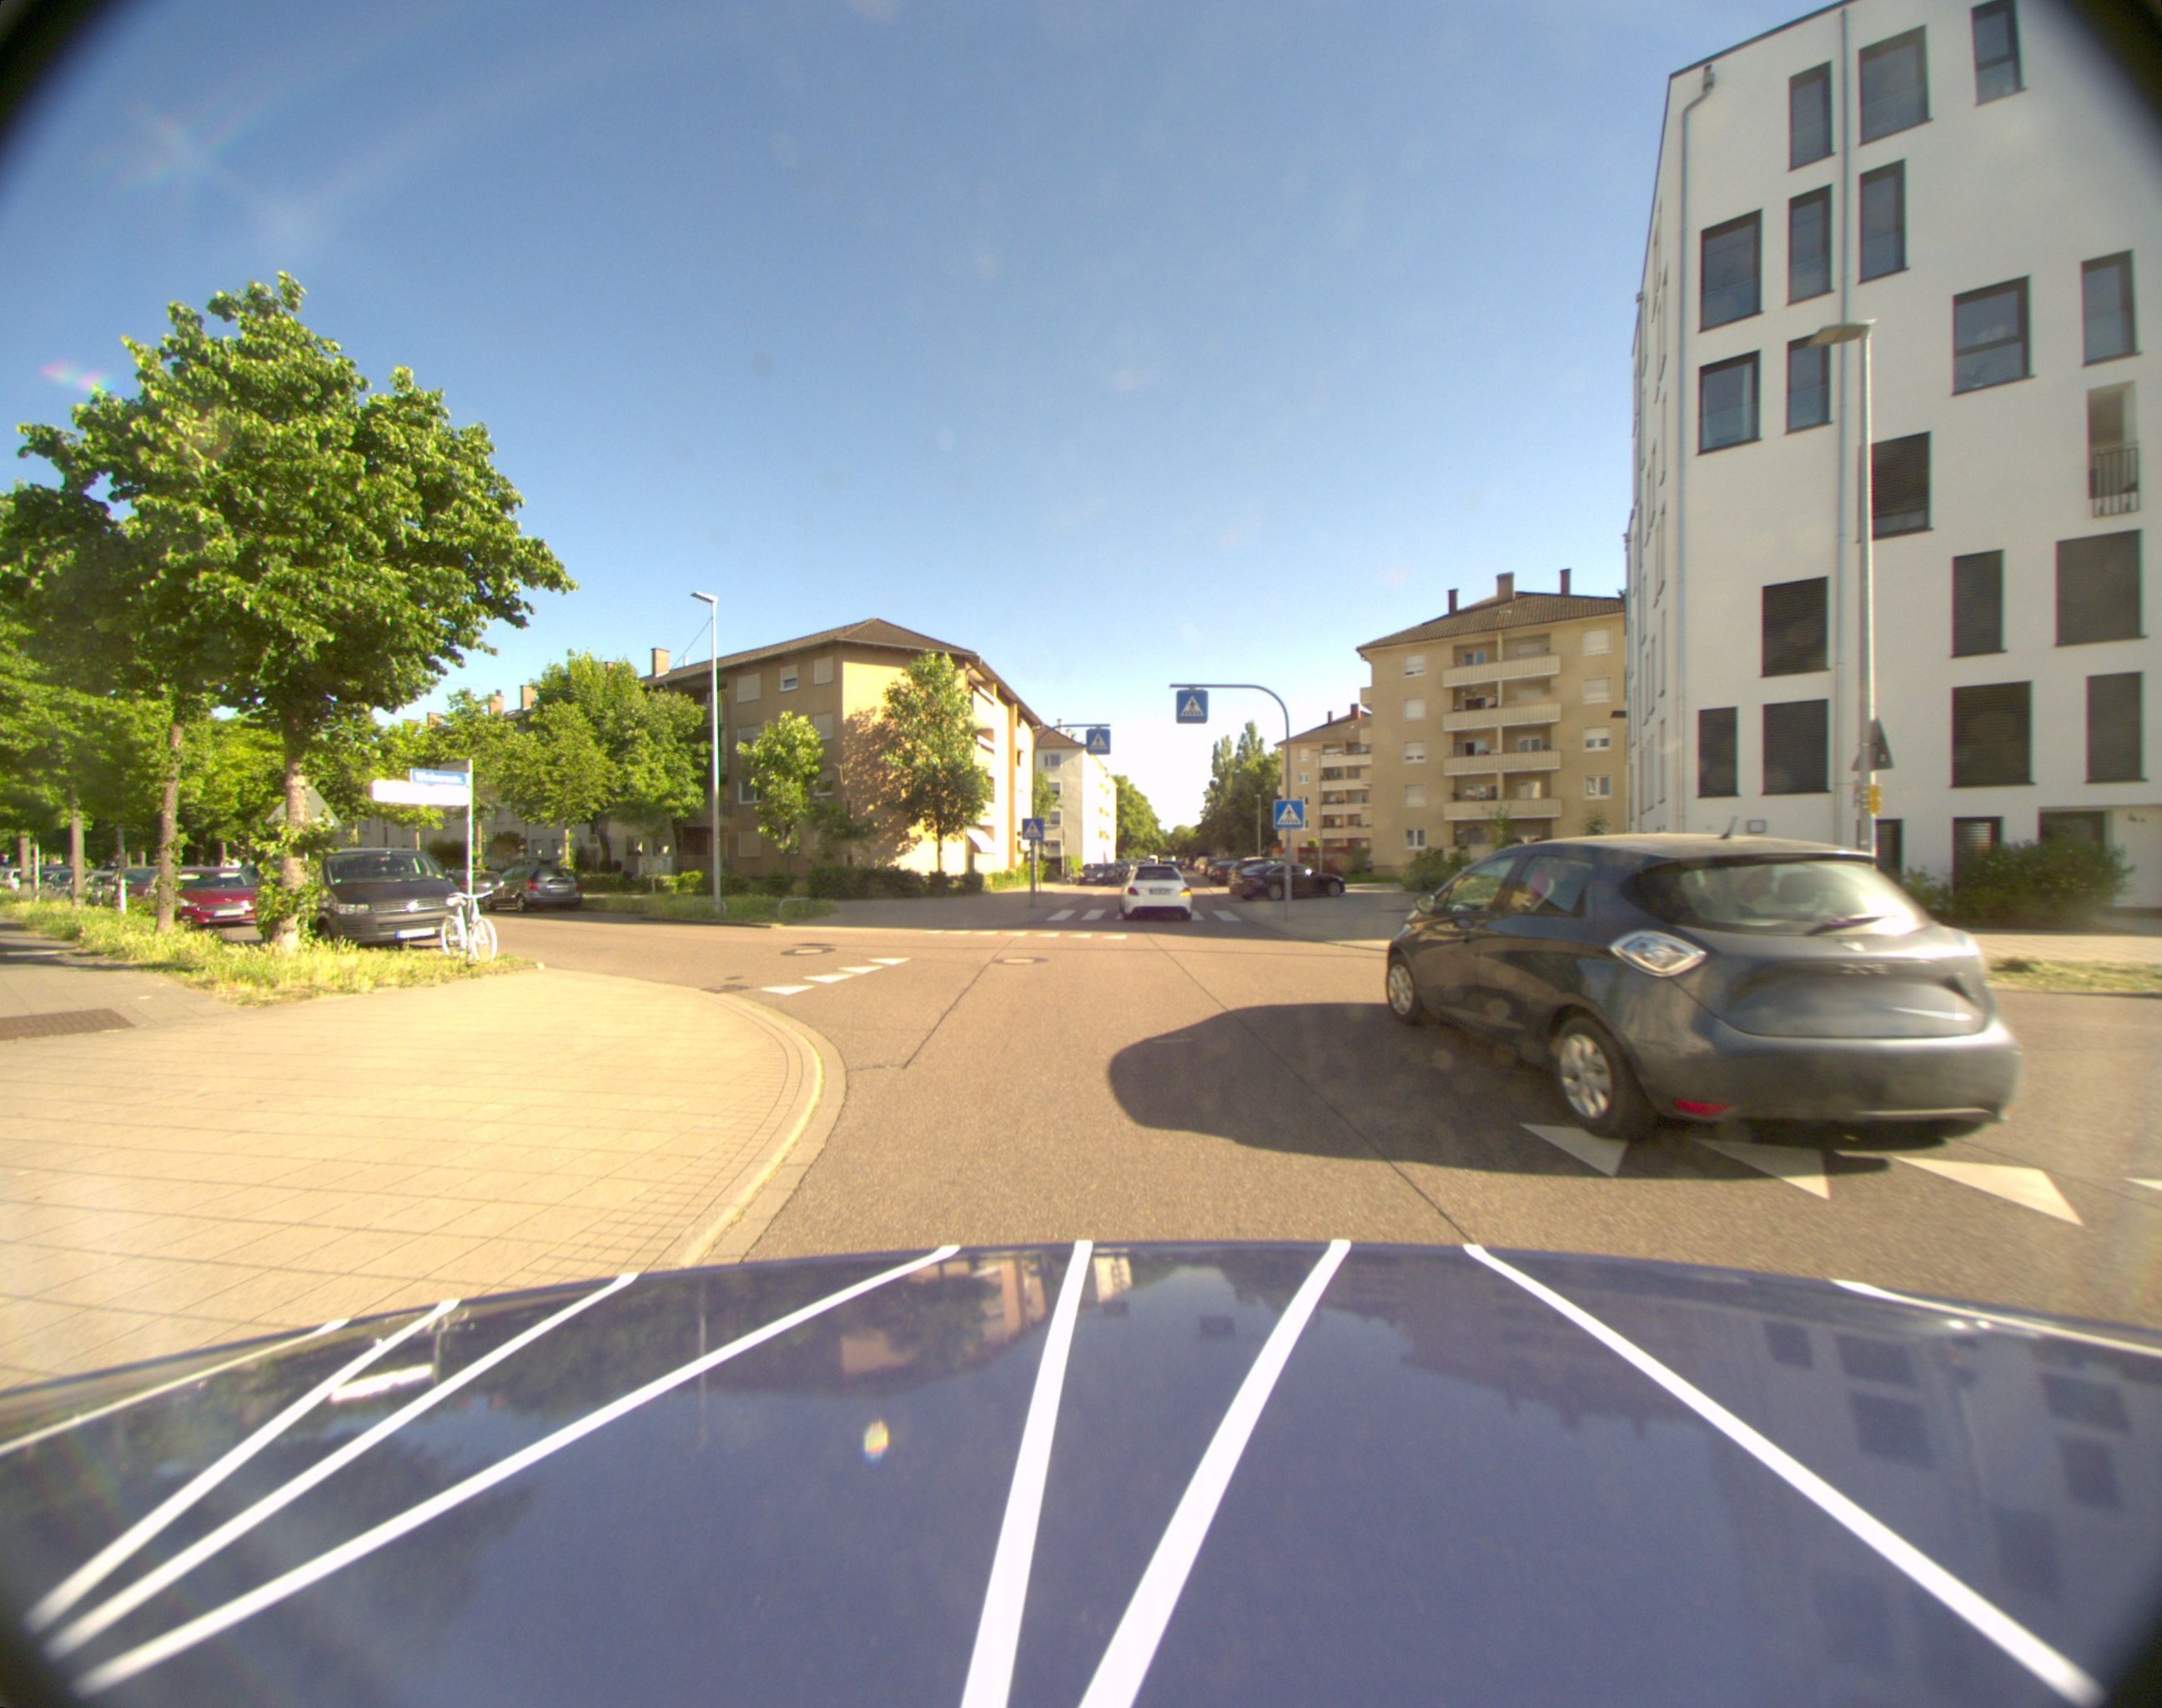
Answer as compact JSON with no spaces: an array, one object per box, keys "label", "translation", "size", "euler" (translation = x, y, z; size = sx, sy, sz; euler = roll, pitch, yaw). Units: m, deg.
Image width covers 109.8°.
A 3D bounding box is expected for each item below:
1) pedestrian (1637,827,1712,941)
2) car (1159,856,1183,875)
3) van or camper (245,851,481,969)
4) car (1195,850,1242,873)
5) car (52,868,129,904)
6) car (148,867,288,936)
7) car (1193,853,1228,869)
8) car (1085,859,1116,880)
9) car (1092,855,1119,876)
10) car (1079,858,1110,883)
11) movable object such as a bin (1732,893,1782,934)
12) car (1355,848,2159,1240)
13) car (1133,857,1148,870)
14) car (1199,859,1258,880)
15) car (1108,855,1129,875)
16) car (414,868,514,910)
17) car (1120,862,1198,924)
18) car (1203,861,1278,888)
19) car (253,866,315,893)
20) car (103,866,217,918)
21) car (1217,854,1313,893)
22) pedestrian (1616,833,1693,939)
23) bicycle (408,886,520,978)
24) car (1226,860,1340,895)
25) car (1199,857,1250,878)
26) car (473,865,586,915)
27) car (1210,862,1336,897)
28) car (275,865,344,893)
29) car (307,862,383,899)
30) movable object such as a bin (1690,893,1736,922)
[{"label":"pedestrian","translation":[10.171,0.485,13.061],"size":[0.789,1.874,0.847],"euler":[0,3,22]},{"label":"car","translation":[8.050,1.018,68.144],"size":[1.741,1.521,4.112],"euler":[-1,2,1]},{"label":"van or camper","translation":[-13.964,0.912,14.681],"size":[5.371,1.852,1.999],"euler":[0,3,33]},{"label":"car","translation":[13.351,0.708,73.619],"size":[4.002,2.003,1.997],"euler":[-2,2,-14]},{"label":"car","translation":[-45.252,1.421,34.704],"size":[3.860,1.456,1.613],"euler":[0,3,31]},{"label":"car","translation":[-23.996,1.222,21.077],"size":[4.958,1.604,1.908],"euler":[0,1,34]},{"label":"car","translation":[16.141,0.891,94.927],"size":[3.997,1.828,1.999],"euler":[-1,2,-1]},{"label":"car","translation":[1.418,1.082,53.658],"size":[1.998,1.237,3.999],"euler":[-1,2,3]},{"label":"car","translation":[2.115,0.951,64.209],"size":[1.998,1.456,4.000],"euler":[-3,1,5]},{"label":"car","translation":[0.837,1.043,48.360],"size":[1.908,1.506,4.000],"euler":[0,0,0]},{"label":"movable object such as a bin","translation":[12.152,1.064,13.655],"size":[0.850,0.676,0.272],"euler":[-1,2,-19]},{"label":"car","translation":[3.404,0.746,5.090],"size":[1.841,1.495,4.138],"euler":[-1,1,3]},{"label":"car","translation":[8.259,1.287,105.772],"size":[1.998,1.685,4.000],"euler":[-1,1,5]},{"label":"car","translation":[11.410,1.165,58.701],"size":[4.003,1.248,1.996],"euler":[-4,3,-19]},{"label":"car","translation":[3.481,0.976,69.855],"size":[1.844,1.747,4.001],"euler":[1,0,4]},{"label":"car","translation":[-23.847,1.313,29.344],"size":[4.080,1.387,1.668],"euler":[0,3,32]},{"label":"car","translation":[2.104,1.002,21.236],"size":[1.889,1.495,4.640],"euler":[2,-1,4]},{"label":"car","translation":[9.669,1.228,46.255],"size":[4.003,1.394,1.996],"euler":[-2,2,-17]},{"label":"car","translation":[-44.840,1.404,42.753],"size":[3.956,1.436,1.658],"euler":[0,0,32]},{"label":"car","translation":[-31.353,1.233,25.833],"size":[4.580,1.558,1.941],"euler":[0,-1,33]},{"label":"car","translation":[8.732,0.912,35.999],"size":[4.005,1.642,1.996],"euler":[-2,0,-24]},{"label":"pedestrian","translation":[11.879,0.639,15.763],"size":[0.776,2.108,0.957],"euler":[-2,0,-14]},{"label":"bicycle","translation":[-9.052,1.103,11.122],"size":[2.025,1.187,0.530],"euler":[0,1,29]},{"label":"car","translation":[8.884,1.000,33.488],"size":[4.569,1.422,1.996],"euler":[0,-1,-22]},{"label":"car","translation":[12.612,1.184,66.995],"size":[3.999,1.631,1.998],"euler":[-1,2,-7]},{"label":"car","translation":[-19.091,1.186,26.274],"size":[4.096,1.553,1.729],"euler":[0,0,32]},{"label":"car","translation":[7.675,0.980,30.379],"size":[4.569,1.160,1.996],"euler":[-2,0,-22]},{"label":"car","translation":[-40.816,1.314,40.173],"size":[4.225,1.384,1.666],"euler":[-1,0,32]},{"label":"car","translation":[-35.885,1.239,37.026],"size":[4.211,1.669,1.712],"euler":[0,0,32]},{"label":"movable object such as a bin","translation":[13.004,1.093,15.635],"size":[0.273,0.538,0.684],"euler":[-1,1,-37]}]
